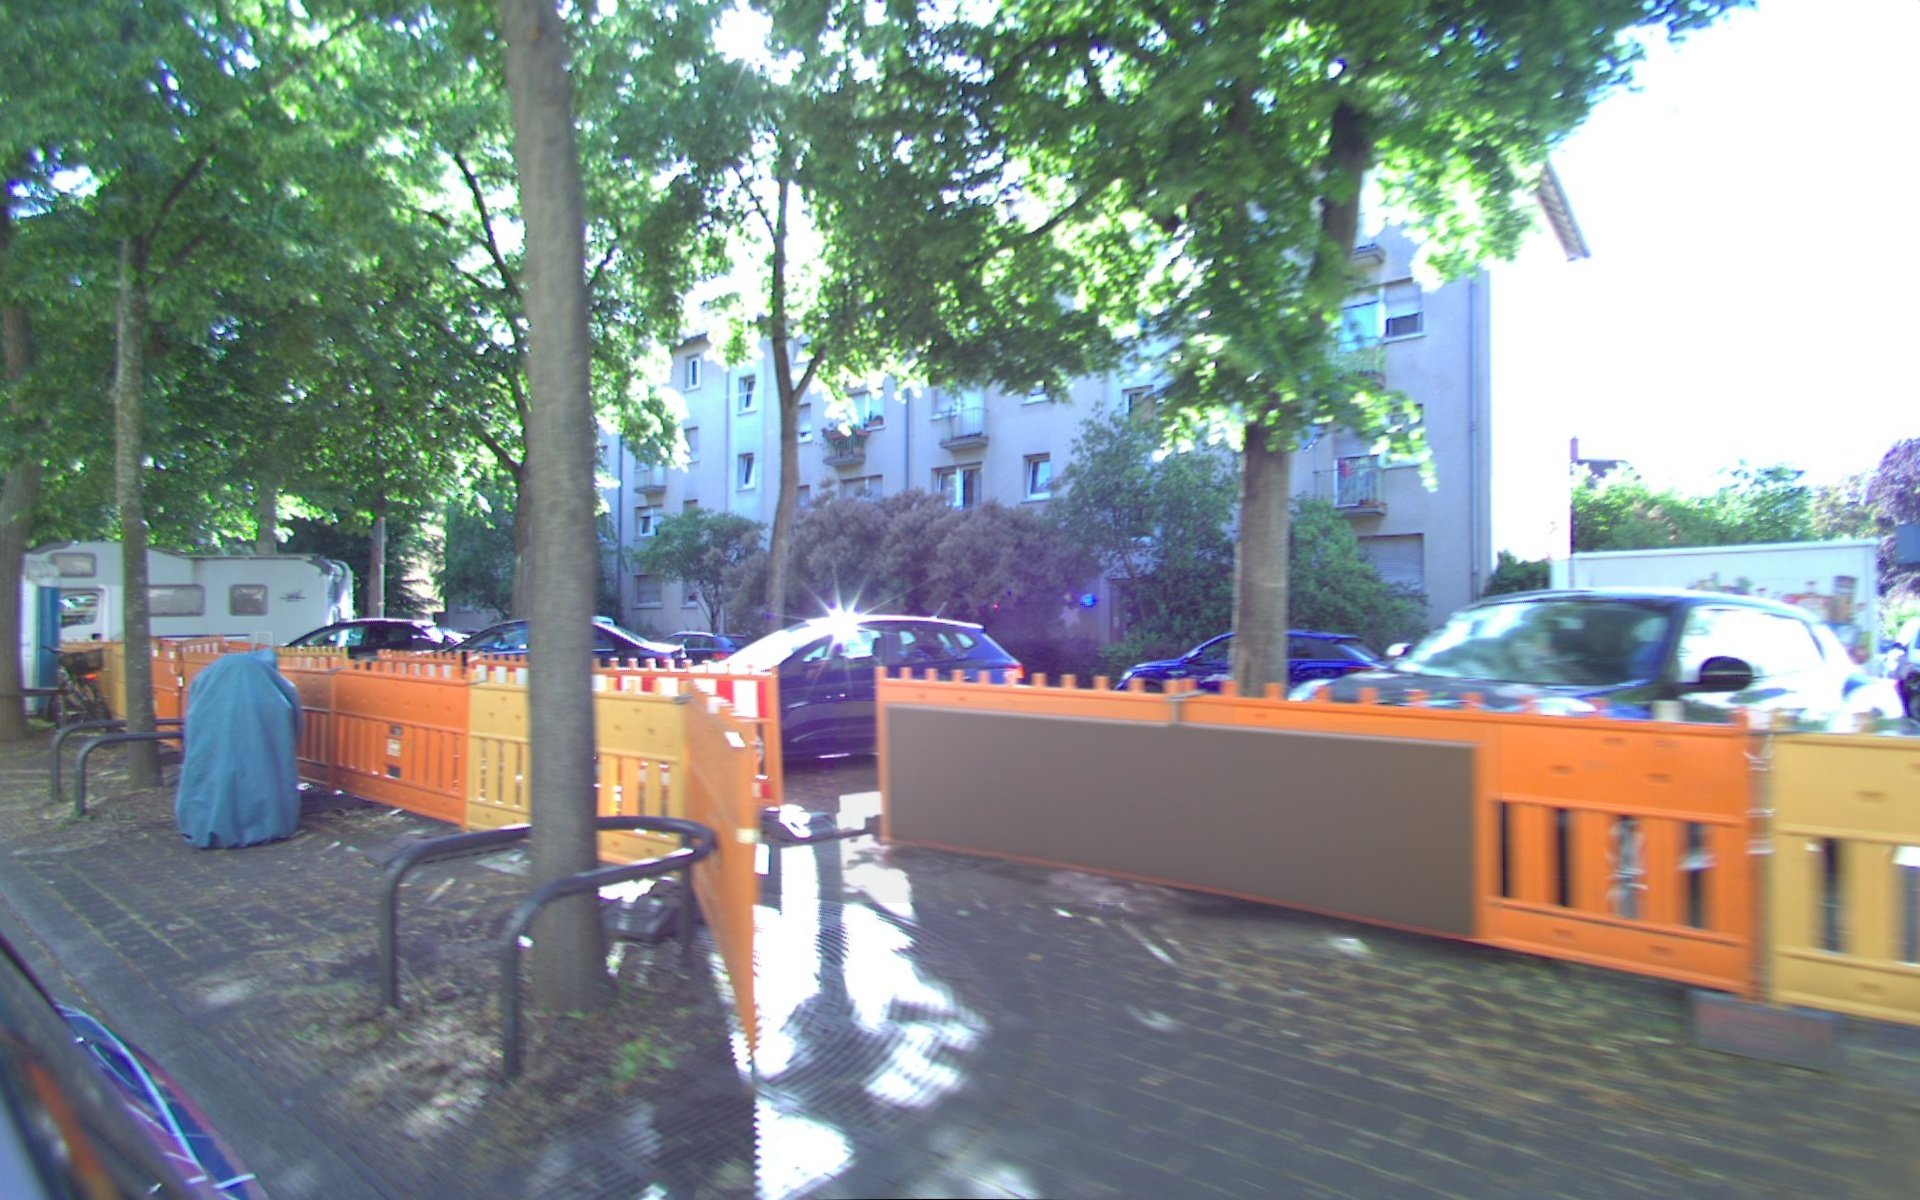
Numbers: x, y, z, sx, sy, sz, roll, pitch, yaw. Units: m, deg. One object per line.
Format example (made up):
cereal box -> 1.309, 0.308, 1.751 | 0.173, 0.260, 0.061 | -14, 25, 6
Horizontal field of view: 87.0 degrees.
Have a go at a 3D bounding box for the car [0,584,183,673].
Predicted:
car -> -27.391, 0.861, 30.332 | 6.094, 2.530, 2.145 | 1, -2, -23

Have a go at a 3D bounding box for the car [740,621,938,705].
car -> -2.555, 1.223, 20.776 | 4.109, 1.571, 1.702 | -1, -2, 40

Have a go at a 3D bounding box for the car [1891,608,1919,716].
car -> 19.621, 1.217, 19.465 | 1.996, 2.041, 4.307 | -1, -3, 36

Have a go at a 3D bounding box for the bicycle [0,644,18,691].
bicycle -> -21.322, 1.467, 21.168 | 2.346, 0.986, 0.502 | 0, -3, -42

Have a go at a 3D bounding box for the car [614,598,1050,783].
car -> -1.168, 0.769, 9.725 | 3.846, 1.472, 1.582 | 1, -2, -30

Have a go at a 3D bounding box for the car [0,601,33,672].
car -> -32.067, 1.128, 31.513 | 4.322, 2.184, 1.776 | 1, -2, -23

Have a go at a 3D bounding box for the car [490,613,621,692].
car -> -11.269, 1.397, 28.079 | 4.264, 2.029, 1.604 | -1, -1, 41

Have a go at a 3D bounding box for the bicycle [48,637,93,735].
bicycle -> -11.233, 1.049, 12.774 | 1.552, 1.164, 0.277 | -2, -3, 44

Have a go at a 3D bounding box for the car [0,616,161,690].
car -> -21.249, 1.212, 23.449 | 3.930, 1.629, 1.803 | 1, -2, -25

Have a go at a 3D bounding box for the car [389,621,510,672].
car -> -16.154, 1.431, 31.961 | 3.996, 1.497, 1.973 | -1, -3, 40

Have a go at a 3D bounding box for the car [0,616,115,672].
car -> -26.352, 1.201, 27.823 | 4.446, 1.495, 1.743 | 1, -2, -21

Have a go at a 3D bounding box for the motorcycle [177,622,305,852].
motorcycle -> -5.025, 0.835, 7.099 | 0.622, 1.334, 2.234 | -1, 0, -35

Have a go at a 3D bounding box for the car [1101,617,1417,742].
car -> 4.315, 1.070, 14.973 | 4.187, 1.586, 1.605 | -1, -1, 38

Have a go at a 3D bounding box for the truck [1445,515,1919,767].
truck -> 8.263, 0.459, 11.892 | 4.262, 2.428, 1.901 | -1, -3, 42

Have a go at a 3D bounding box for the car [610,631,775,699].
car -> -6.359, 1.464, 23.880 | 4.123, 1.454, 1.702 | -1, -2, 40

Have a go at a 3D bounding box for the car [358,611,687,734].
car -> -5.854, 0.959, 13.987 | 3.932, 1.530, 1.675 | 1, -2, -17

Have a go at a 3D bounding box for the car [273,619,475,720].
car -> -10.587, 1.218, 18.488 | 2.941, 1.730, 1.426 | 1, -2, -19

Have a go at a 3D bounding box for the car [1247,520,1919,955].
car -> 3.708, 0.578, 5.518 | 4.062, 1.638, 1.703 | 1, -2, -28

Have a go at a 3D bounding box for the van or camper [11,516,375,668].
van or camper -> -16.550, -0.082, 22.372 | 5.928, 3.025, 2.407 | 1, -2, -22
